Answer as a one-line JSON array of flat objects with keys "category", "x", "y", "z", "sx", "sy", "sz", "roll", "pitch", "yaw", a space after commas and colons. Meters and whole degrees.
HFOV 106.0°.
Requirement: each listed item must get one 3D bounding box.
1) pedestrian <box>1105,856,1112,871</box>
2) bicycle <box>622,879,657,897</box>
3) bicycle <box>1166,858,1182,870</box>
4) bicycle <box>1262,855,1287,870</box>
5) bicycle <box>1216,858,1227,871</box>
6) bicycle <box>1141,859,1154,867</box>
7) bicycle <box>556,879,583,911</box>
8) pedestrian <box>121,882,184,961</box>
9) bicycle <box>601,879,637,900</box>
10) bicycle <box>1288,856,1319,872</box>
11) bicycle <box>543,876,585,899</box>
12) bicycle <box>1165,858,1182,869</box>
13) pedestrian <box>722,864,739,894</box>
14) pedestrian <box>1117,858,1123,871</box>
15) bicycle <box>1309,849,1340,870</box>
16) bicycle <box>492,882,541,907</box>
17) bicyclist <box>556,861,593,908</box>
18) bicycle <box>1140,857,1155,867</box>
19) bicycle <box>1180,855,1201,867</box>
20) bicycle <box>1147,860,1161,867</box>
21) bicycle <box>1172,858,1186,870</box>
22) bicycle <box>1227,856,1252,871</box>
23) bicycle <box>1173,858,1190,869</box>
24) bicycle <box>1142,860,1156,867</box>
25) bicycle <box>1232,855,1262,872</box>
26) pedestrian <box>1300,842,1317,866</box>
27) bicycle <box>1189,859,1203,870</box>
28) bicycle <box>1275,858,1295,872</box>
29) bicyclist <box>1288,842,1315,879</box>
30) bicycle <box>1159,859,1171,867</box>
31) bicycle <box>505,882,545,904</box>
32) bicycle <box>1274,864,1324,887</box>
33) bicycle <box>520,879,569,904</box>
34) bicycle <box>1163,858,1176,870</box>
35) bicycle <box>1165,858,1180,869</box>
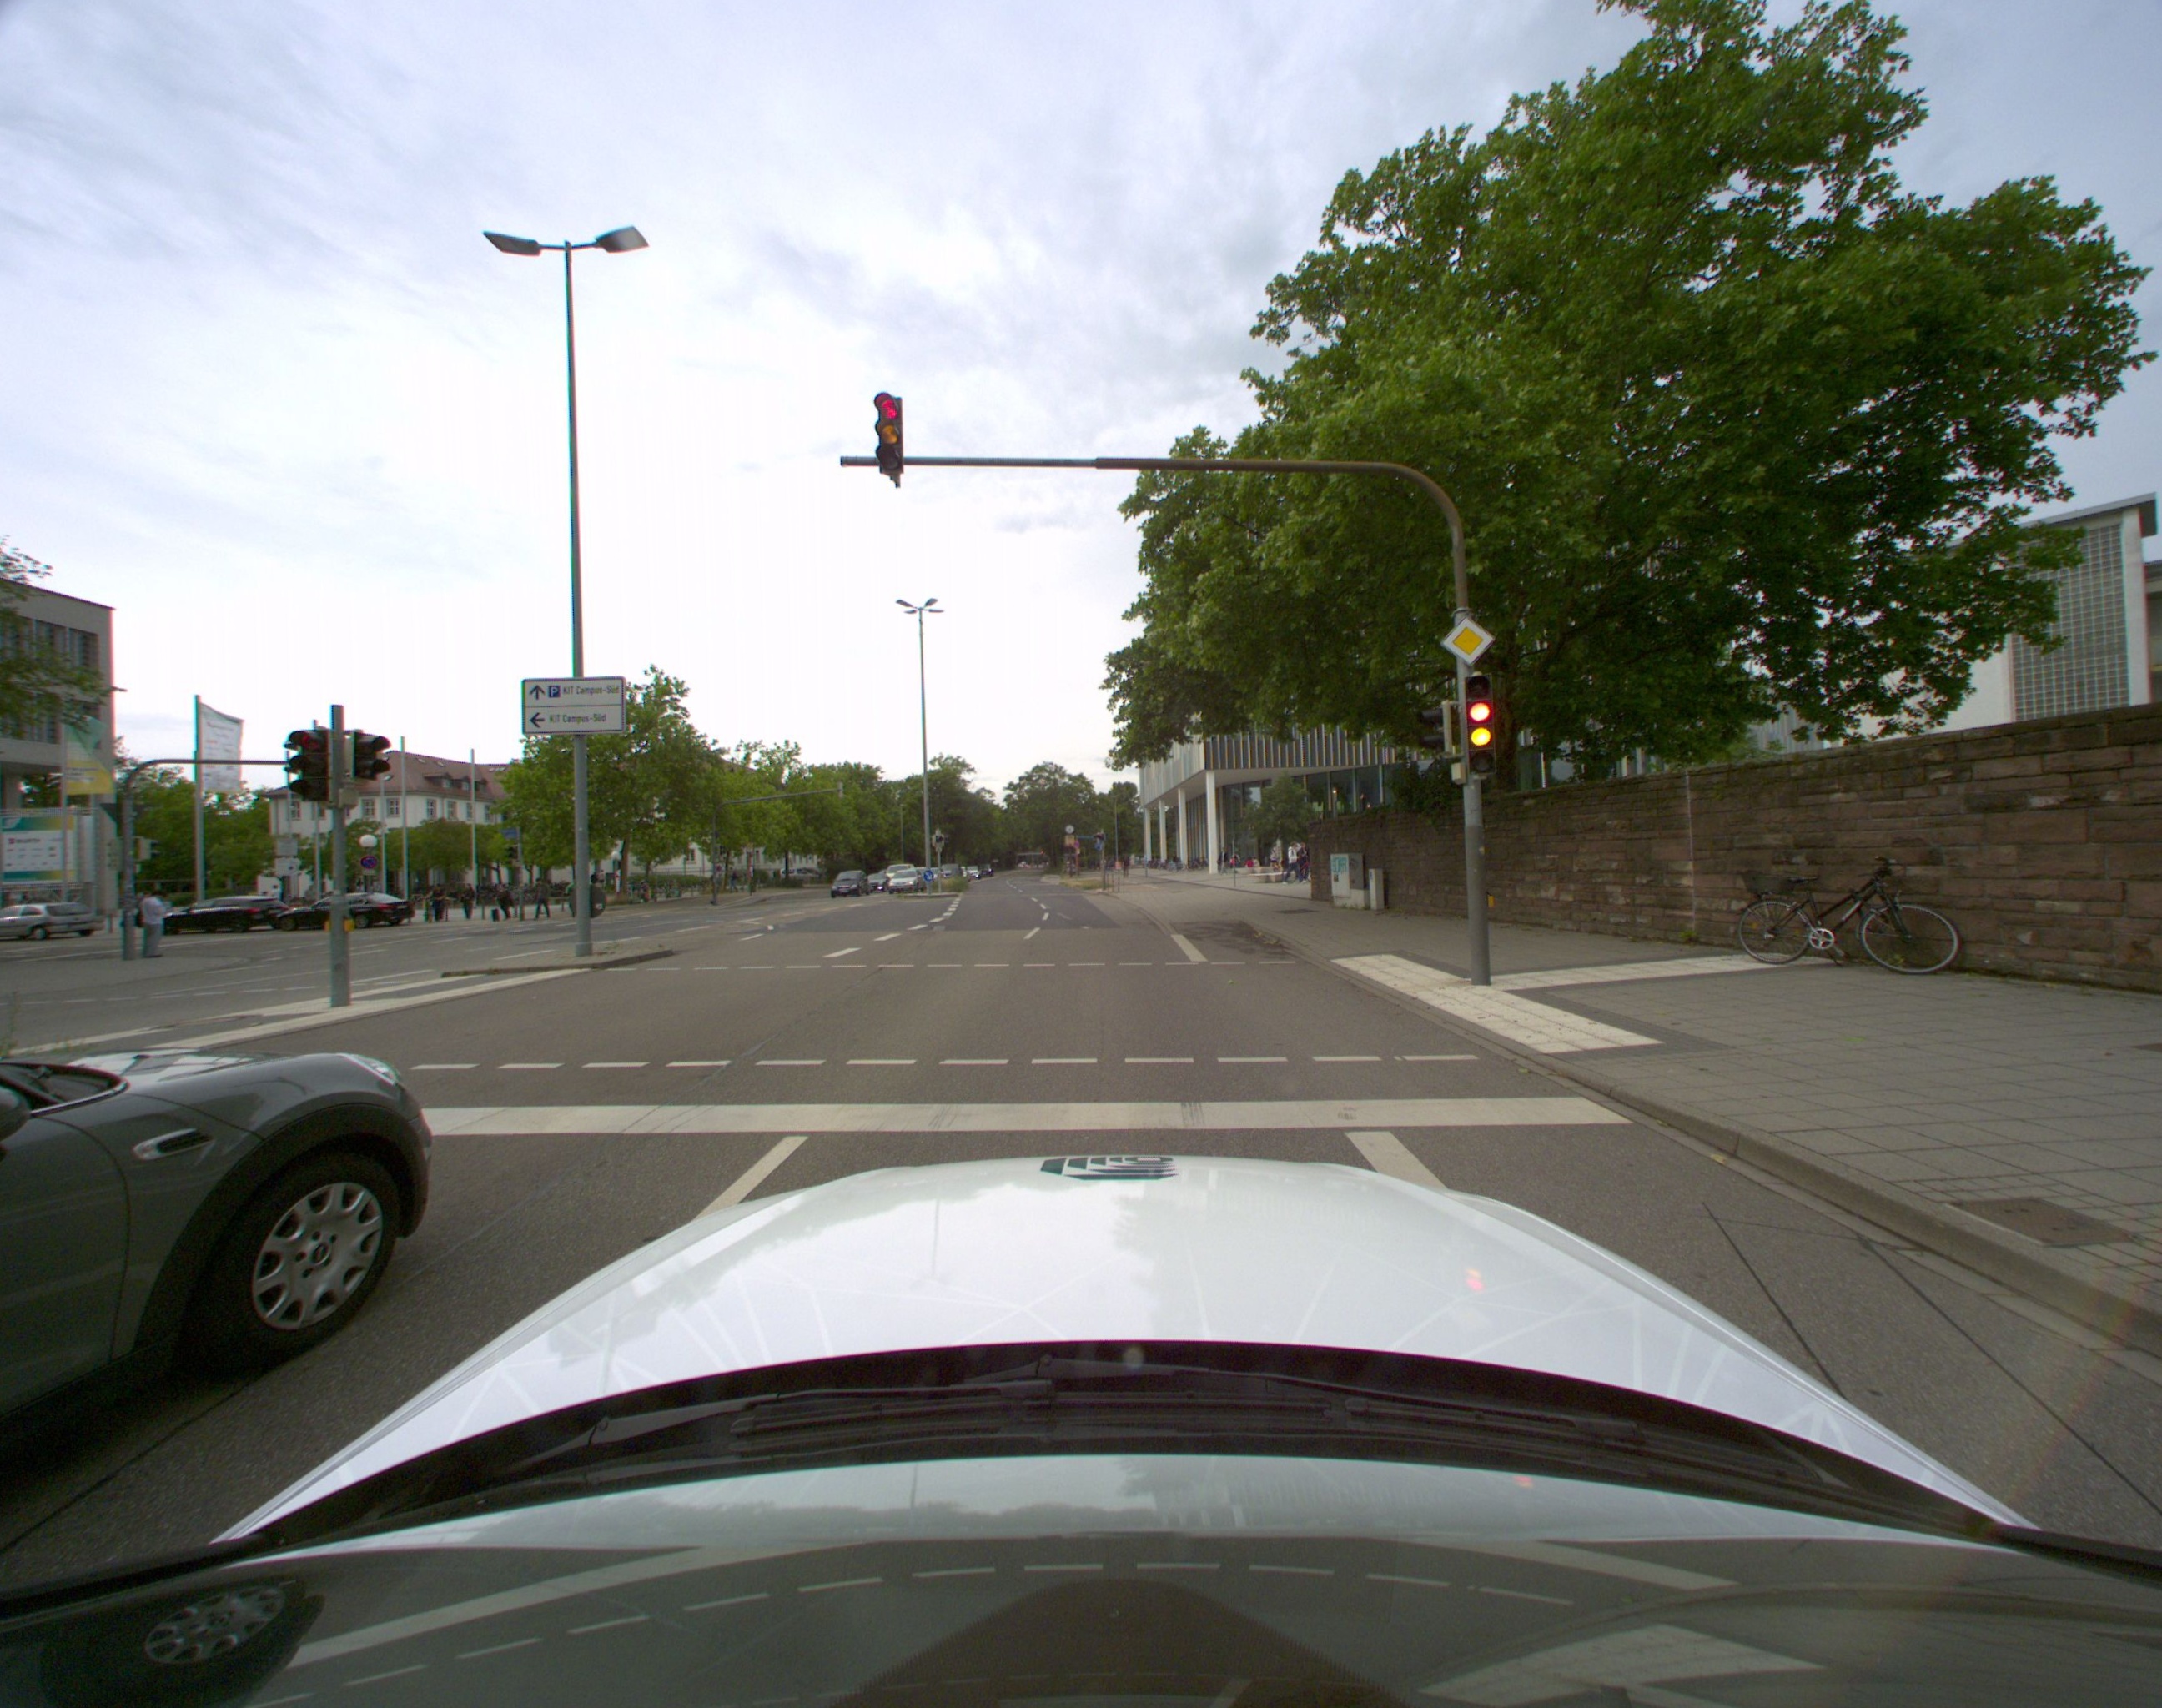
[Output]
[{"category": "pedestrian", "x": 3.872, "y": 1.353, "z": 113.250, "sx": 0.822, "sy": 2.014, "sz": 0.719, "roll": -3, "pitch": -1, "yaw": -3}, {"category": "bicycle", "x": -31.195, "y": 2.429, "z": 57.558, "sx": 2.036, "sy": 1.153, "sz": 0.717, "roll": -2, "pitch": -1, "yaw": -20}, {"category": "bicycle", "x": 9.751, "y": 1.042, "z": 85.224, "sx": 1.636, "sy": 1.091, "sz": 0.573, "roll": -5, "pitch": -1, "yaw": 6}, {"category": "bicycle", "x": 14.061, "y": 0.610, "z": 59.128, "sx": 1.971, "sy": 1.002, "sz": 0.765, "roll": -2, "pitch": -1, "yaw": -44}, {"category": "bicycle", "x": 11.106, "y": 0.822, "z": 64.480, "sx": 0.636, "sy": 1.061, "sz": 1.841, "roll": 0, "pitch": -1, "yaw": 2}, {"category": "bicycle", "x": 8.587, "y": 1.125, "z": 104.594, "sx": 1.602, "sy": 0.875, "sz": 0.556, "roll": -3, "pitch": -1, "yaw": -2}, {"category": "bicycle", "x": -22.587, "y": 1.802, "z": 36.004, "sx": 0.607, "sy": 1.333, "sz": 2.294, "roll": 0, "pitch": -1, "yaw": -21}, {"category": "pedestrian", "x": -25.127, "y": 1.812, "z": 22.050, "sx": 0.664, "sy": 2.059, "sz": 0.852, "roll": -2, "pitch": -1, "yaw": -2}, {"category": "bicycle", "x": -38.023, "y": 2.884, "z": 67.059, "sx": 2.396, "sy": 1.594, "sz": 0.720, "roll": -2, "pitch": -1, "yaw": -7}, {"category": "bicycle", "x": 15.465, "y": 0.707, "z": 56.582, "sx": 2.200, "sy": 1.006, "sz": 0.774, "roll": -2, "pitch": -1, "yaw": -32}, {"category": "bicycle", "x": -38.523, "y": 2.511, "z": 60.727, "sx": 2.447, "sy": 1.559, "sz": 0.918, "roll": -2, "pitch": -1, "yaw": -13}, {"category": "bicycle", "x": 9.516, "y": 0.990, "z": 83.631, "sx": 1.602, "sy": 0.982, "sz": 0.556, "roll": -5, "pitch": -1, "yaw": -2}, {"category": "pedestrian", "x": -23.670, "y": 1.682, "z": 55.010, "sx": 0.801, "sy": 2.014, "sz": 0.923, "roll": 0, "pitch": -1, "yaw": -9}, {"category": "pedestrian", "x": 5.028, "y": 1.376, "z": 104.441, "sx": 0.726, "sy": 1.684, "sz": 0.747, "roll": 0, "pitch": -1, "yaw": 1}, {"category": "bicycle", "x": 16.629, "y": 0.348, "z": 55.640, "sx": 2.011, "sy": 1.306, "sz": 0.640, "roll": -4, "pitch": 1, "yaw": -24}, {"category": "bicycle", "x": -38.799, "y": 2.756, "z": 56.002, "sx": 2.657, "sy": 1.559, "sz": 0.779, "roll": -2, "pitch": -1, "yaw": -8}, {"category": "bicyclist", "x": -22.359, "y": 1.337, "z": 35.965, "sx": 1.185, "sy": 2.014, "sz": 1.272, "roll": 0, "pitch": -1, "yaw": -22}, {"category": "bicycle", "x": 8.657, "y": 1.048, "z": 106.595, "sx": 1.791, "sy": 1.082, "sz": 0.625, "roll": -4, "pitch": 0, "yaw": -4}, {"category": "bicycle", "x": 11.473, "y": 0.742, "z": 85.390, "sx": 1.962, "sy": 1.144, "sz": 0.652, "roll": -5, "pitch": 0, "yaw": 39}, {"category": "bicycle", "x": 9.183, "y": 1.191, "z": 102.056, "sx": 1.602, "sy": 0.875, "sz": 0.556, "roll": -3, "pitch": -1, "yaw": -2}, {"category": "bicycle", "x": 9.218, "y": 0.978, "z": 76.654, "sx": 0.608, "sy": 1.080, "sz": 1.954, "roll": -4, "pitch": 0, "yaw": -13}, {"category": "bicycle", "x": 12.134, "y": 0.717, "z": 62.381, "sx": 0.727, "sy": 1.115, "sz": 2.196, "roll": -3, "pitch": -1, "yaw": 45}, {"category": "bicycle", "x": 10.170, "y": 0.934, "z": 82.255, "sx": 1.597, "sy": 0.936, "sz": 0.570, "roll": -5, "pitch": 0, "yaw": 8}, {"category": "bicycle", "x": 8.637, "y": 1.195, "z": 103.636, "sx": 1.602, "sy": 0.875, "sz": 0.556, "roll": -3, "pitch": -1, "yaw": -2}, {"category": "bicycle", "x": 12.446, "y": 0.696, "z": 60.994, "sx": 2.736, "sy": 1.188, "sz": 0.765, "roll": -2, "pitch": -1, "yaw": -44}, {"category": "pedestrian", "x": 19.781, "y": -0.001, "z": 70.885, "sx": 1.170, "sy": 2.062, "sz": 1.142, "roll": -1, "pitch": -1, "yaw": 27}, {"category": "bicycle", "x": 10.592, "y": 0.978, "z": 74.866, "sx": 1.496, "sy": 0.929, "sz": 0.435, "roll": -3, "pitch": 1, "yaw": -41}, {"category": "bicycle", "x": 14.678, "y": 0.778, "z": 58.486, "sx": 0.663, "sy": 0.899, "sz": 1.857, "roll": -3, "pitch": -1, "yaw": 39}, {"category": "bicyclist", "x": 9.810, "y": 0.291, "z": 36.266, "sx": 0.957, "sy": 1.645, "sz": 0.740, "roll": -1, "pitch": -1, "yaw": 37}, {"category": "bicycle", "x": 9.273, "y": 0.991, "z": 90.004, "sx": 1.280, "sy": 0.875, "sz": 0.556, "roll": -3, "pitch": -1, "yaw": -2}, {"category": "bicycle", "x": -42.453, "y": 2.983, "z": 62.181, "sx": 2.639, "sy": 1.559, "sz": 0.926, "roll": -3, "pitch": -1, "yaw": 15}, {"category": "bicycle", "x": 9.724, "y": 0.960, "z": 36.350, "sx": 1.950, "sy": 1.018, "sz": 0.801, "roll": -1, "pitch": -1, "yaw": 33}, {"category": "bicycle", "x": -38.209, "y": 2.662, "z": 58.023, "sx": 2.661, "sy": 1.559, "sz": 0.918, "roll": -2, "pitch": -1, "yaw": -13}, {"category": "bicycle", "x": 8.625, "y": 0.957, "z": 79.432, "sx": 0.635, "sy": 1.140, "sz": 2.196, "roll": -5, "pitch": 0, "yaw": -6}, {"category": "bicycle", "x": 9.308, "y": 1.003, "z": 83.052, "sx": 1.396, "sy": 1.043, "sz": 0.559, "roll": -4, "pitch": -1, "yaw": -2}]
